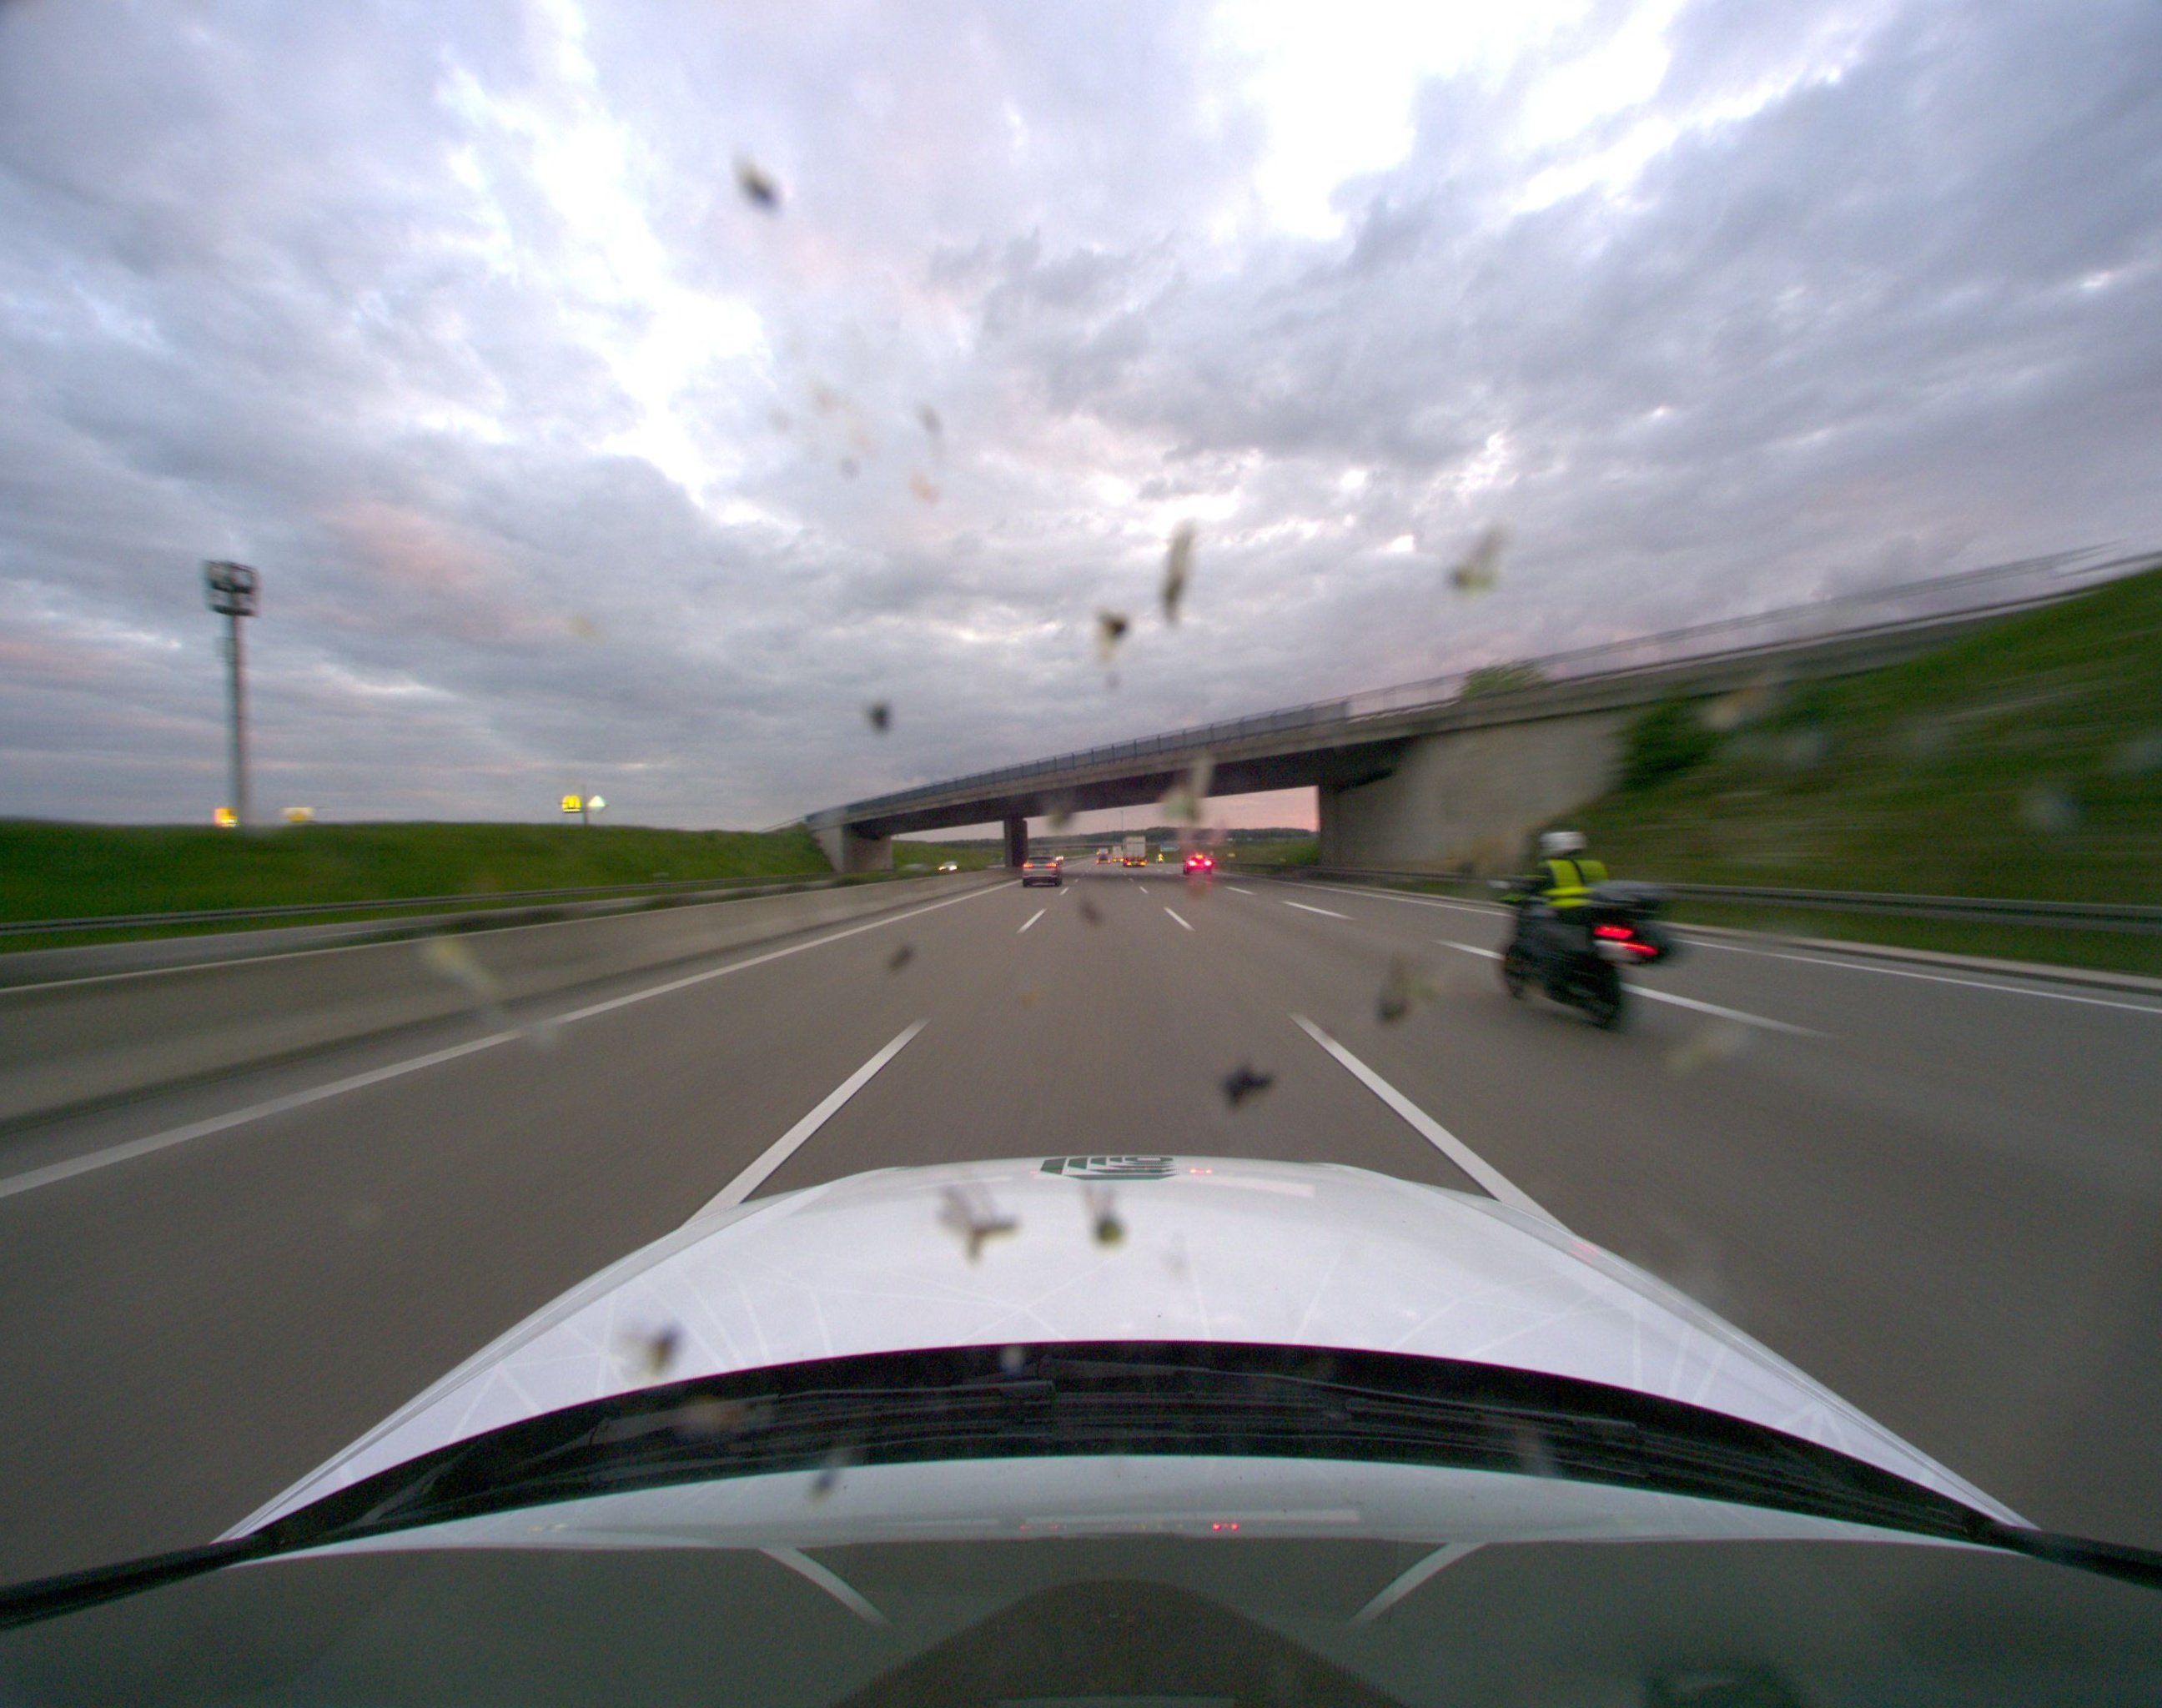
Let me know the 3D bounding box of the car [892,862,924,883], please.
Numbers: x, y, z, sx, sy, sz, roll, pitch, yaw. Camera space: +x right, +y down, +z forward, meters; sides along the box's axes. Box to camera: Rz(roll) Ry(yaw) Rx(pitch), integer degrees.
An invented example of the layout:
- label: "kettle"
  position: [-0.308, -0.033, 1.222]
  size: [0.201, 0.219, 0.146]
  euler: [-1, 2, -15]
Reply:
- label: "car"
  position: [-13.539, 1.431, 63.919]
  size: [1.517, 1.506, 4.410]
  euler: [-2, 0, 1]

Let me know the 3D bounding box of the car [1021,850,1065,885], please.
- label: "car"
  position: [-1.918, 0.680, 42.899]
  size: [1.845, 1.692, 5.514]
  euler: [-1, 0, 2]

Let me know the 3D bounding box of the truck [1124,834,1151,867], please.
- label: "truck"
  position: [7.474, -0.457, 108.585]
  size: [3.221, 4.227, 9.603]
  euler: [0, 0, 2]

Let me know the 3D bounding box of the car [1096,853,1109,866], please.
- label: "car"
  position: [4.368, 1.101, 164.884]
  size: [2.508, 2.391, 6.497]
  euler: [-2, 0, 1]

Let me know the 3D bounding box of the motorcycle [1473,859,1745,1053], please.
- label: "motorcycle"
  position: [4.413, 0.750, 7.107]
  size: [0.898, 1.346, 2.350]
  euler: [-2, 1, 2]

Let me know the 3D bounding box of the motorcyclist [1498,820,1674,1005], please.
- label: "motorcyclist"
  position: [4.372, 0.467, 7.154]
  size: [0.862, 1.487, 1.169]
  euler: [0, 0, 3]

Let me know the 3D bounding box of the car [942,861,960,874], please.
- label: "car"
  position: [-16.056, 1.692, 100.769]
  size: [1.558, 1.471, 3.935]
  euler: [-2, 0, 0]

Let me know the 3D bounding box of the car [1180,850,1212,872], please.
- label: "car"
  position: [8.778, 0.529, 62.483]
  size: [1.911, 1.579, 4.001]
  euler: [-2, 0, 1]

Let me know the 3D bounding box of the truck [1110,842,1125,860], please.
- label: "truck"
  position: [9.195, -0.740, 205.608]
  size: [3.513, 4.345, 8.407]
  euler: [0, 0, 1]

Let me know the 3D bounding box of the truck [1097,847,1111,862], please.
- label: "truck"
  position: [5.110, 0.162, 180.995]
  size: [2.941, 3.217, 8.407]
  euler: [0, 0, 1]
